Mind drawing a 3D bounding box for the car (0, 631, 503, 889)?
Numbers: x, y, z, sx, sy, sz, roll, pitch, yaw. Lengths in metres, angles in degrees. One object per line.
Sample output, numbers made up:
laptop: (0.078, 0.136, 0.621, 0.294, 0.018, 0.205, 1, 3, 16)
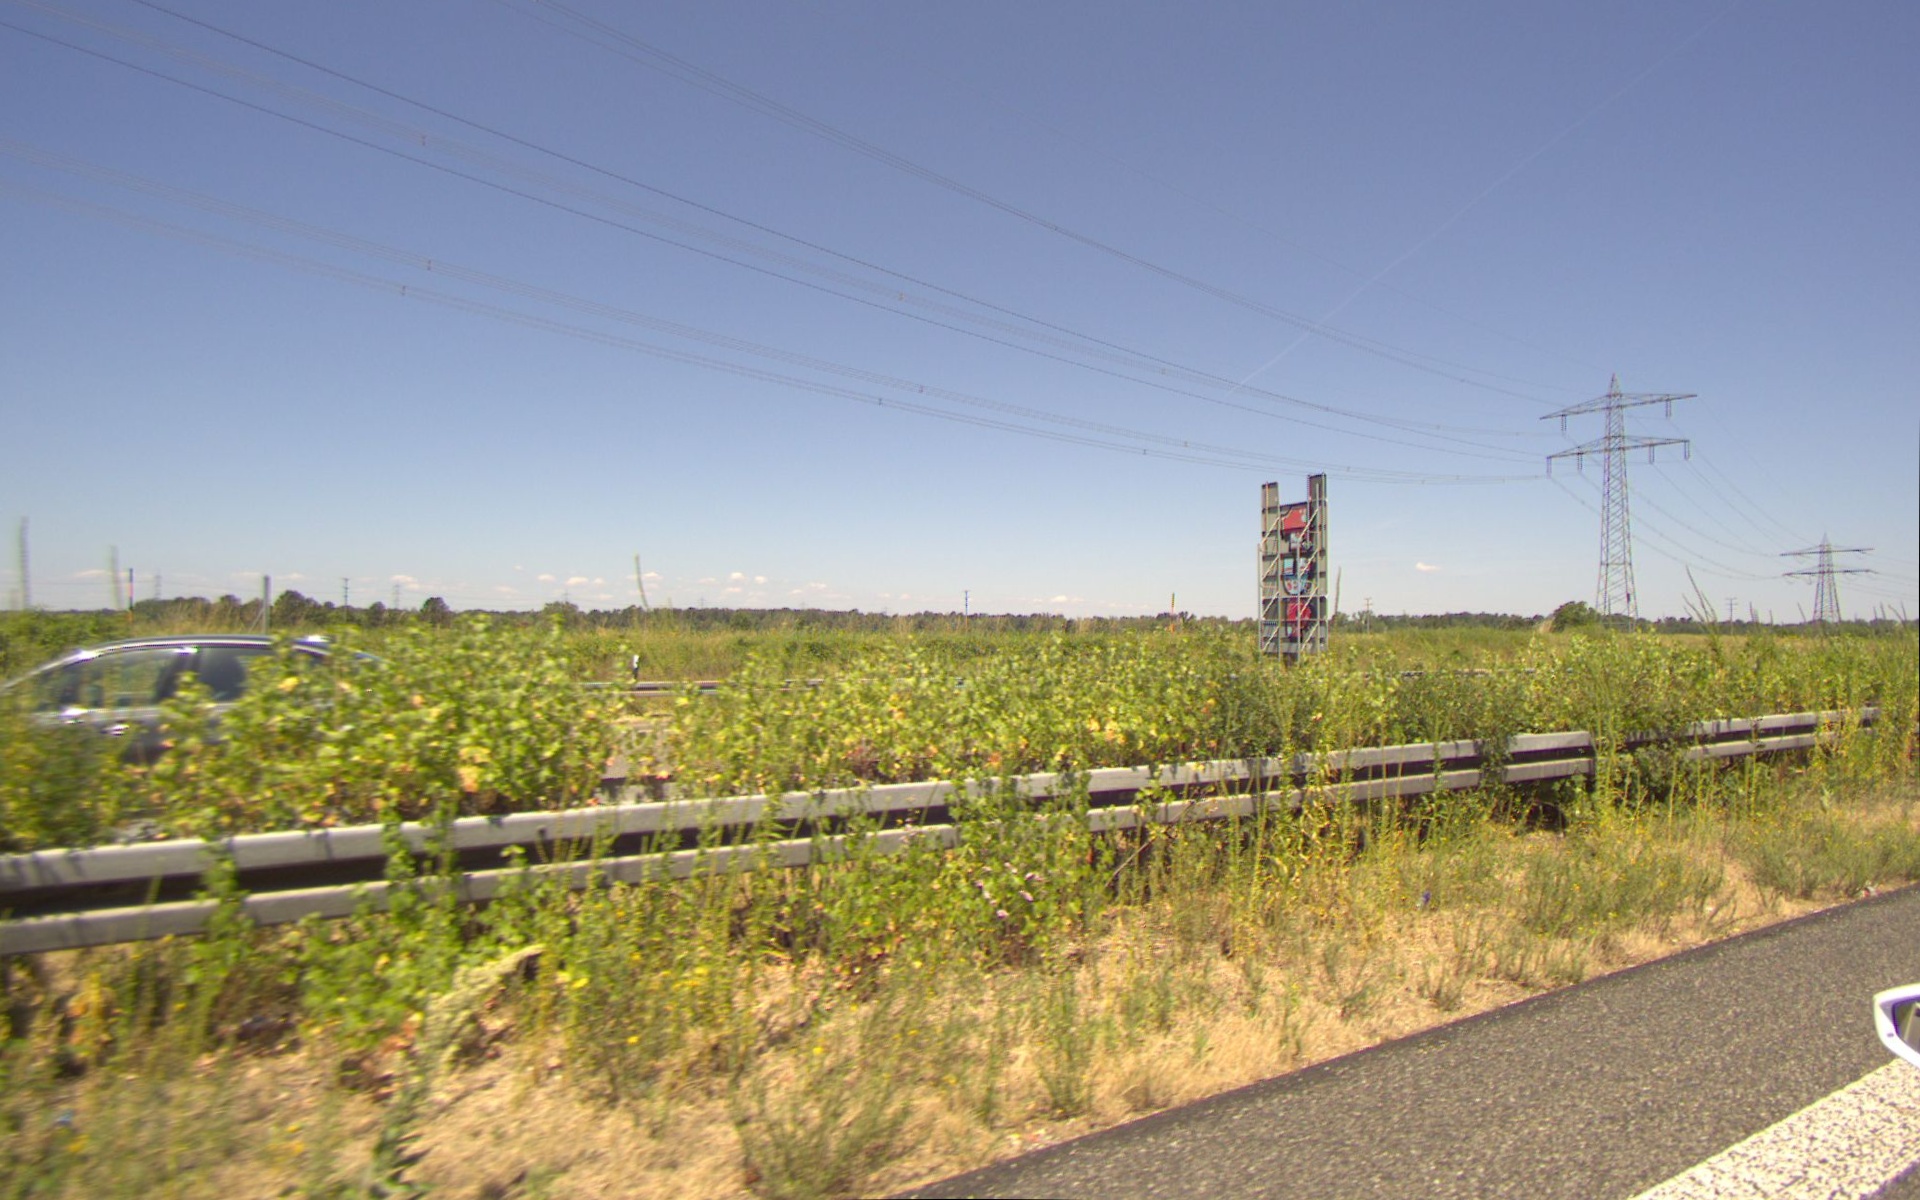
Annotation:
car: (-5.634, 0.982, 6.987, 4.251, 1.515, 1.782, 2, -2, -33)
